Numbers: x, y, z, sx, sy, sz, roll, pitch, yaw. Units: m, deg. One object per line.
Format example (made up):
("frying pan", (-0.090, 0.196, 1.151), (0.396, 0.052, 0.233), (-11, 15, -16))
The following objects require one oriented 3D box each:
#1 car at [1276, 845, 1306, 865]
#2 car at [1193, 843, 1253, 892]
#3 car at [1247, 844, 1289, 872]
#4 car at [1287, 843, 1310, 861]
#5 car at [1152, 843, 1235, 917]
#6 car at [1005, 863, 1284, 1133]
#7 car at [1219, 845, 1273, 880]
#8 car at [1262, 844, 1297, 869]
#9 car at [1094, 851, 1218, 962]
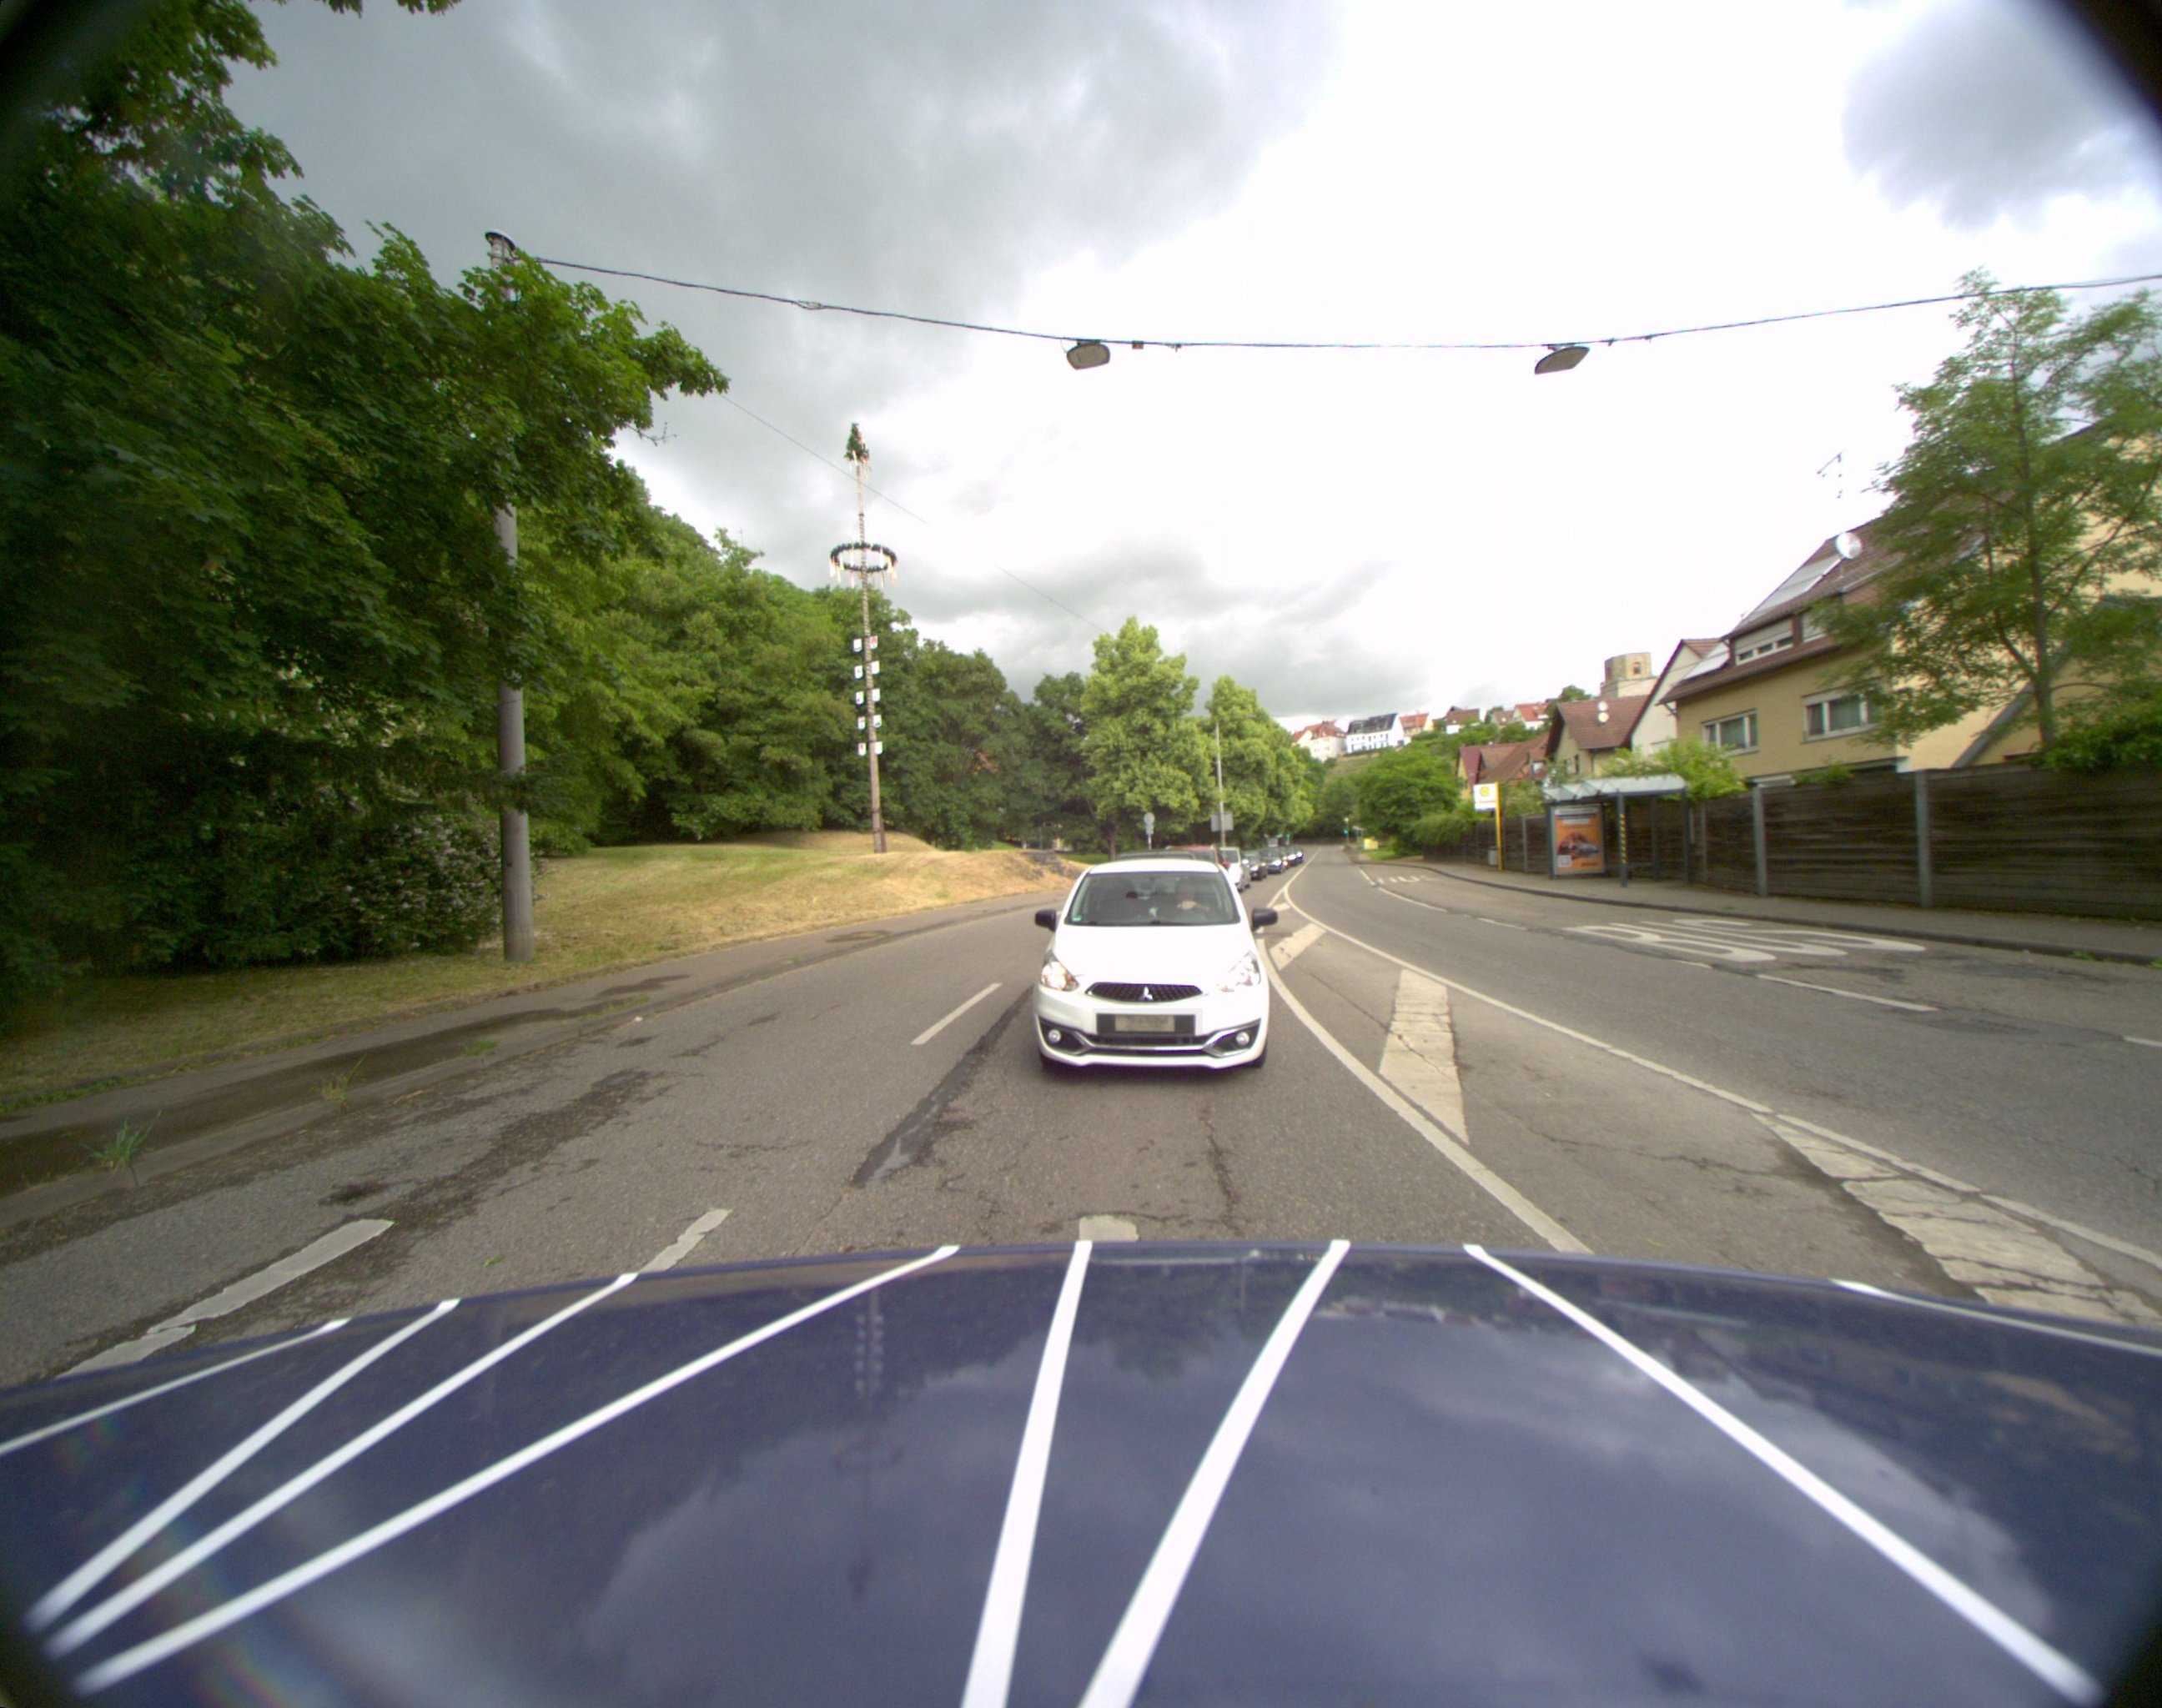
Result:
("car", (14.785, 0.032, 53.478), (1.642, 1.262, 3.630), (-2, 1, 21))
("car", (5.181, 0.449, 27.338), (1.781, 1.560, 4.004), (-2, 1, 15))
("car", (10.321, 0.180, 41.699), (1.694, 1.403, 3.987), (-2, 1, 21))
("car", (17.042, -0.170, 59.502), (1.417, 1.242, 3.300), (-2, 1, 21))
("car", (2.972, 0.577, 19.413), (1.673, 1.632, 4.104), (-2, 1, 13))
("car", (0.606, 0.907, 6.577), (1.627, 1.499, 4.001), (-2, 1, 7))
("car", (7.770, 0.372, 35.549), (1.851, 1.449, 4.005), (-2, 1, 21))
("car", (12.597, 0.117, 48.077), (1.704, 1.438, 3.872), (-2, 1, 21))
("car", (1.344, 0.766, 12.975), (1.729, 1.512, 4.002), (-2, 1, 8))
